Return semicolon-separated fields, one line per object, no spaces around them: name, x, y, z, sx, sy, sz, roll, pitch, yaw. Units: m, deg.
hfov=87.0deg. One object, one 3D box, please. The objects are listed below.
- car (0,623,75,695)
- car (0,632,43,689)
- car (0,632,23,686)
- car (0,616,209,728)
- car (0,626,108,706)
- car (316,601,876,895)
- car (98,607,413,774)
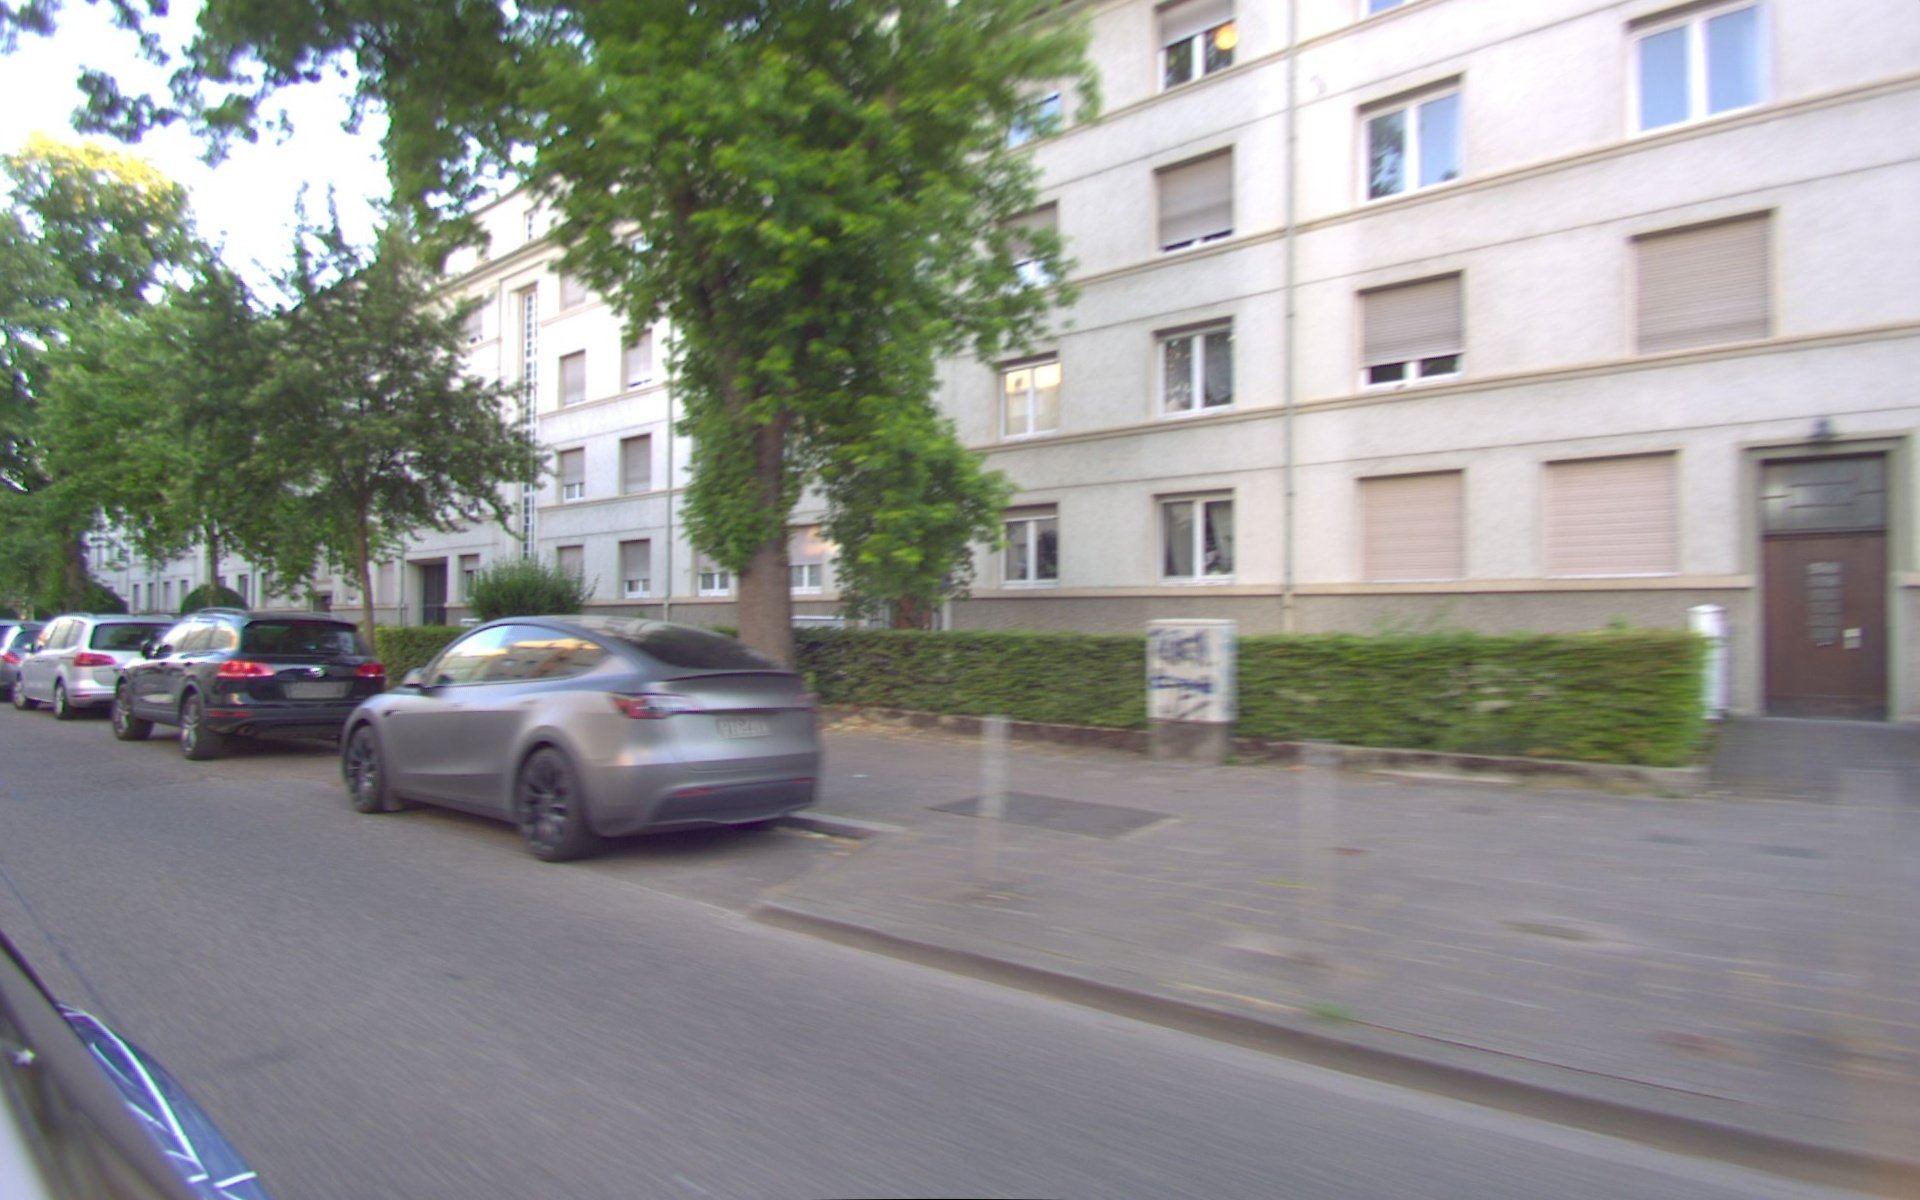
car;-22.909;1.379;24.332;4.112;1.613;1.690;-1;-5;39
car;-26.231;1.575;27.238;3.839;1.463;1.690;-1;-5;40
car;-29.526;1.689;30.144;4.199;1.550;1.575;-1;-5;37
car;-15.011;1.182;17.584;4.851;1.704;1.829;-1;-4;37
car;-19.180;1.326;21.047;4.270;1.508;1.713;-2;-4;43
car;-3.002;0.914;7.852;4.599;1.629;1.934;-1;-4;39
car;-9.031;1.037;12.819;4.765;1.732;1.934;-1;-4;39
